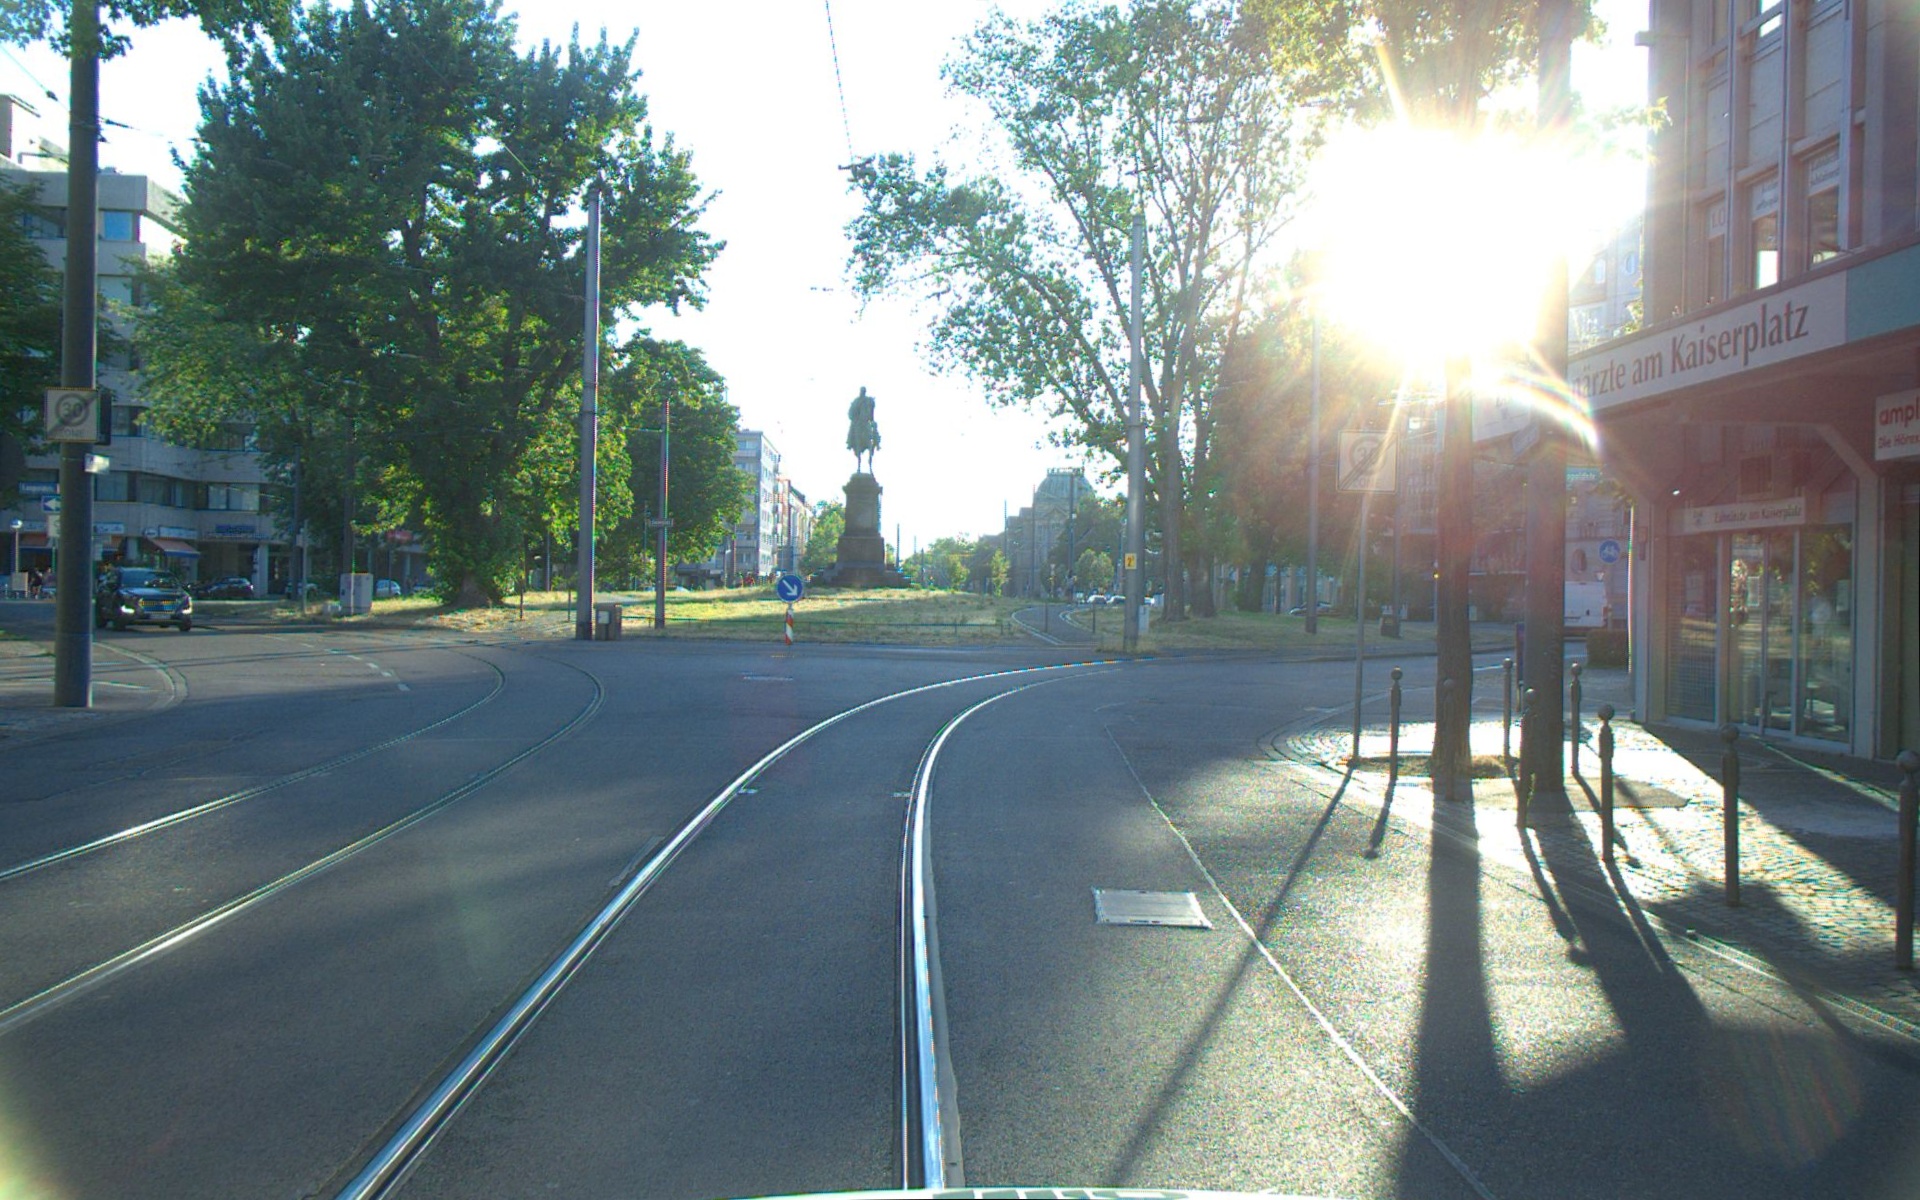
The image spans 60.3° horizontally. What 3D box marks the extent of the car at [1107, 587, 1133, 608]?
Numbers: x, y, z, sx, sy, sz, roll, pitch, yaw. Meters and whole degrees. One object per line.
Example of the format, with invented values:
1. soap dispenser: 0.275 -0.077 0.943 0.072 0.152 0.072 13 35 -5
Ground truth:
1. car: 16.367 -0.311 169.350 2.095 2.049 3.998 1 1 -2

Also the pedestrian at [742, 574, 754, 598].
1. pedestrian: -14.450 -0.960 112.720 0.755 1.634 0.637 1 0 -9

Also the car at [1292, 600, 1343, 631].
1. car: 24.355 1.059 112.781 1.959 2.004 3.988 1 1 -12

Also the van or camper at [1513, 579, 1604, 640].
1. van or camper: 26.078 0.363 72.324 2.551 2.515 6.326 1 1 9

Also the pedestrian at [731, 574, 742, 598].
1. pedestrian: -15.304 -0.977 113.232 0.755 1.634 0.637 1 0 -9

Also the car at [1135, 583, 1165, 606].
1. car: 17.683 -0.484 154.068 2.095 2.049 3.998 1 1 -2

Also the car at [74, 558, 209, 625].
1. car: -22.062 -0.242 44.528 4.286 1.706 1.956 2 0 45

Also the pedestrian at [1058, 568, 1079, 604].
1. pedestrian: 4.950 -0.640 75.501 0.628 1.634 0.766 1 1 45

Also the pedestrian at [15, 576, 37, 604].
1. pedestrian: -51.467 -0.543 91.122 0.727 1.529 0.771 1 0 21

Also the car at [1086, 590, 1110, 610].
1. car: 15.061 0.022 180.469 2.095 2.049 3.998 1 1 -2

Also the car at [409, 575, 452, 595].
1. car: -39.203 -1.095 122.531 1.838 1.445 3.925 1 1 0
